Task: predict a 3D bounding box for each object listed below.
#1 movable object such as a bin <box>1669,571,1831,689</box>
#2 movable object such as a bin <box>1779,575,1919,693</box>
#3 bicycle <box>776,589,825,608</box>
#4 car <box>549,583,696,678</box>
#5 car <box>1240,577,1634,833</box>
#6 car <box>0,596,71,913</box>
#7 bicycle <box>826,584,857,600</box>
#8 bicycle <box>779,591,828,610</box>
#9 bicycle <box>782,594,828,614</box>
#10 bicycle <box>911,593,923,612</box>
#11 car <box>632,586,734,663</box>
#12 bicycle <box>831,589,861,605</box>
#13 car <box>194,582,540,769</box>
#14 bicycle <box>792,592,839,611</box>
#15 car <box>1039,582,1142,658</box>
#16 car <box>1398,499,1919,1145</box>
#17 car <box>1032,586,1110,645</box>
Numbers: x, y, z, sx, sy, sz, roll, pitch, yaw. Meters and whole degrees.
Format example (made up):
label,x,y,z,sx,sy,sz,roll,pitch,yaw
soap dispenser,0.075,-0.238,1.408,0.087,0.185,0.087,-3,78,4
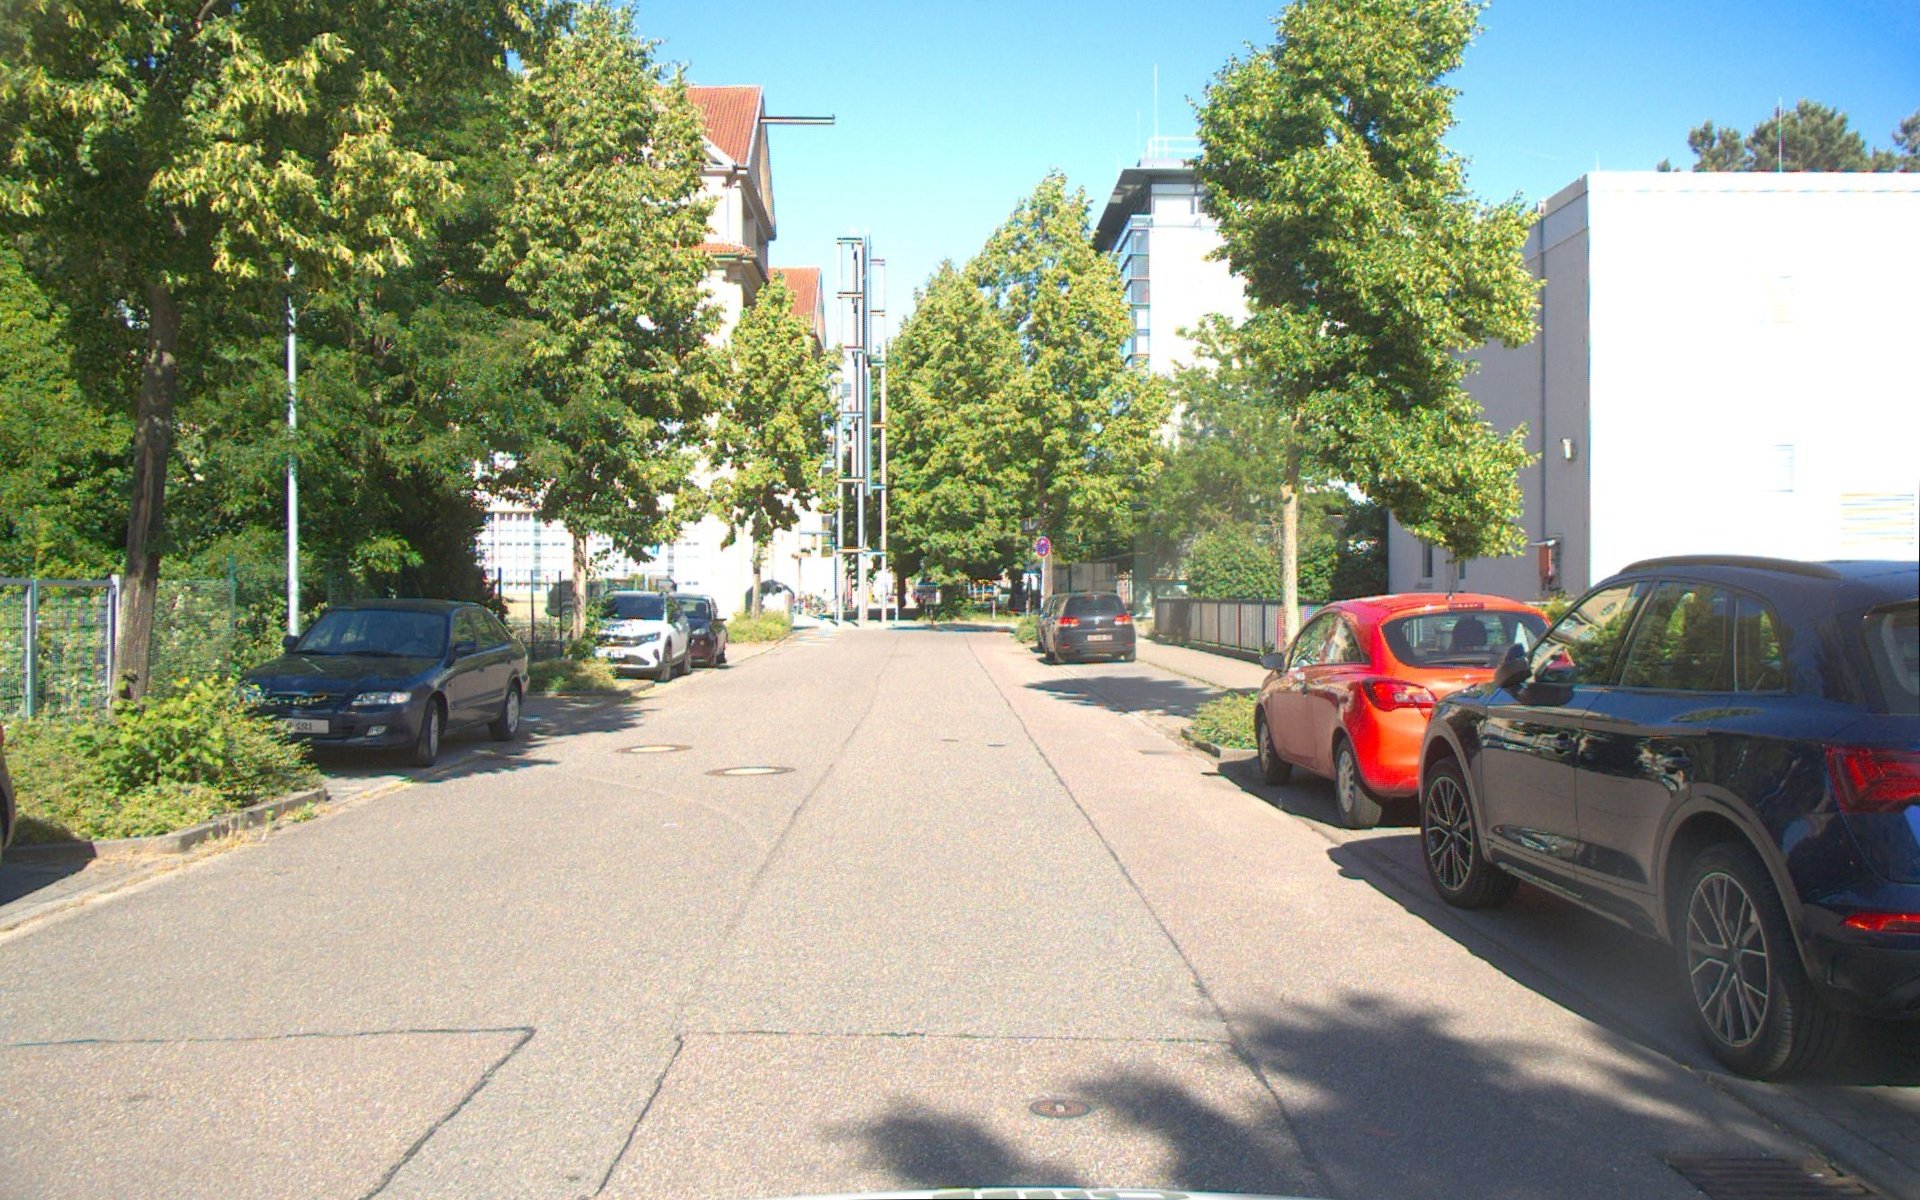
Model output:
label,x,y,z,sx,sy,sz,roll,pitch,yaw
movable object such as a bin,10.306,0.369,21.662,1.338,1.473,1.631,-1,0,0
movable object such as a bin,11.702,0.415,21.485,1.303,1.473,1.631,-1,0,0
bicycle,-9.143,-0.089,95.042,2.743,1.081,0.718,0,0,-1
car,-5.828,0.493,29.020,1.803,1.499,4.001,2,0,-1
car,3.263,0.635,12.097,1.641,1.530,3.845,-1,0,-2
car,-5.421,0.719,6.411,1.803,1.499,4.026,2,0,-1
bicycle,-8.096,-0.536,113.006,2.015,1.085,0.507,0,0,1
bicycle,-8.853,0.035,93.474,2.746,1.081,0.718,0,0,-6
bicycle,-9.366,0.249,100.284,2.746,1.171,0.718,-1,0,-6
bicycle,-2.772,0.143,107.357,0.607,1.218,2.129,0,1,-6
car,-5.754,0.481,34.665,1.683,1.499,3.544,2,0,-3
bicycle,-7.841,-0.225,113.825,2.015,1.085,0.507,0,0,1
car,-5.483,0.622,15.929,1.803,1.499,4.359,2,0,-1
bicycle,-8.542,0.072,97.947,2.746,1.081,0.718,0,0,-6
car,2.799,0.397,36.170,1.748,1.542,3.998,-1,1,-3
car,3.304,0.552,6.616,1.861,1.712,4.410,-2,0,0
car,2.819,0.382,42.790,1.711,1.447,4.423,0,0,0
